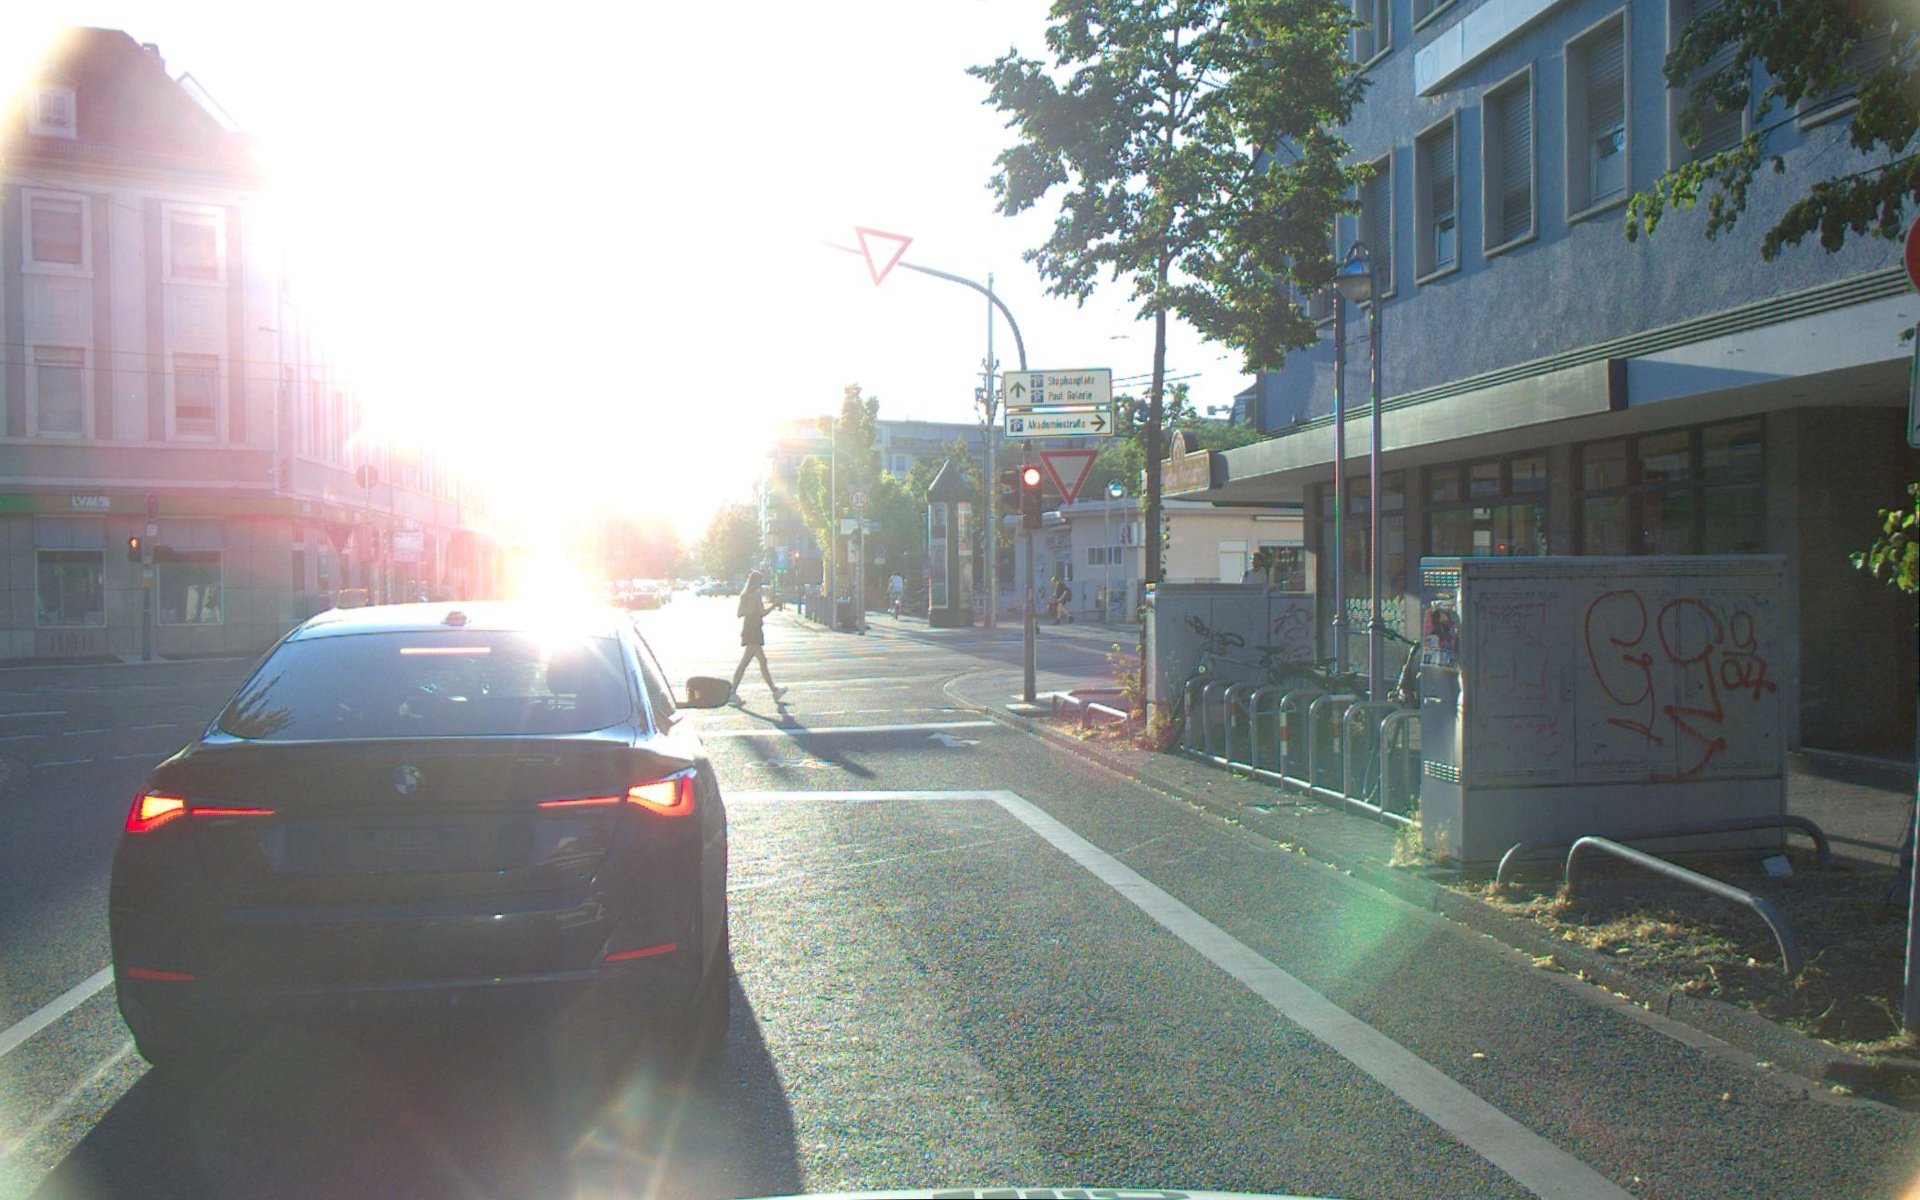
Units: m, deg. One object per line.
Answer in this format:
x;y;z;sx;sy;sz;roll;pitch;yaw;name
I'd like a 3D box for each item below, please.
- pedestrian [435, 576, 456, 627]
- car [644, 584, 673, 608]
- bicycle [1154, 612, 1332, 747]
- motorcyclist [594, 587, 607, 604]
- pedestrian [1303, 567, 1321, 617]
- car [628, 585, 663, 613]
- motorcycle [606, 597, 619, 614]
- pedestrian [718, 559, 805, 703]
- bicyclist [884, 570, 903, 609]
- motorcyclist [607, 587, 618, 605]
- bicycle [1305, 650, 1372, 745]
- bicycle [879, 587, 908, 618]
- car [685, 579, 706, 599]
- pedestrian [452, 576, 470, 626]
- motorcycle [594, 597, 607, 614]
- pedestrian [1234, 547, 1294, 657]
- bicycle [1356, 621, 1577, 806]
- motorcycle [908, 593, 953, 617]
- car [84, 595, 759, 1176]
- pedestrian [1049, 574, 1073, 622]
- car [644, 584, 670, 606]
-19.242;0.048;61.897;0.631;1.909;0.630;1;0;-9;pedestrian
-20.518;-0.292;112.658;1.784;1.545;3.992;-1;1;-9;car
2.596;0.719;15.189;1.582;1.191;0.318;-1;0;-7;bicycle
-20.383;-0.252;93.854;0.564;0.931;2.196;1;0;-8;motorcyclist
12.573;-0.286;59.000;0.438;1.765;0.429;1;0;-34;pedestrian
-17.945;-0.077;94.393;1.784;1.545;3.992;-1;1;-9;car
-19.627;0.304;93.446;0.564;0.931;2.196;1;0;-8;motorcycle
-2.681;0.397;22.331;0.990;1.893;0.634;-1;0;-29;pedestrian
-2.581;-0.413;63.911;0.541;1.507;0.719;1;0;-18;bicyclist
-19.612;-0.236;93.345;0.564;1.013;0.701;1;0;-9;motorcyclist
3.518;0.893;15.416;0.244;0.810;1.114;1;0;-7;bicycle
-2.570;0.092;63.854;0.541;1.179;2.133;1;0;-18;bicycle
-25.519;-1.039;159.668;1.737;1.881;3.995;-1;1;-6;car
-19.130;0.044;63.416;0.605;1.909;0.676;1;0;-13;pedestrian
-20.399;0.289;93.831;0.564;0.931;2.196;1;0;-8;motorcycle
5.292;0.029;28.809;0.820;1.874;0.677;-1;0;-9;pedestrian
3.486;0.776;11.397;1.413;1.241;0.383;1;0;-8;bicycle
-1.221;0.211;67.849;1.644;0.955;0.851;-1;1;-20;motorcycle
-1.745;0.725;6.453;1.705;1.453;4.214;0;0;-10;car
3.318;-0.077;54.287;0.718;1.555;0.472;1;0;-2;pedestrian
-22.791;-0.398;124.414;1.784;1.545;3.992;-1;1;-9;car
